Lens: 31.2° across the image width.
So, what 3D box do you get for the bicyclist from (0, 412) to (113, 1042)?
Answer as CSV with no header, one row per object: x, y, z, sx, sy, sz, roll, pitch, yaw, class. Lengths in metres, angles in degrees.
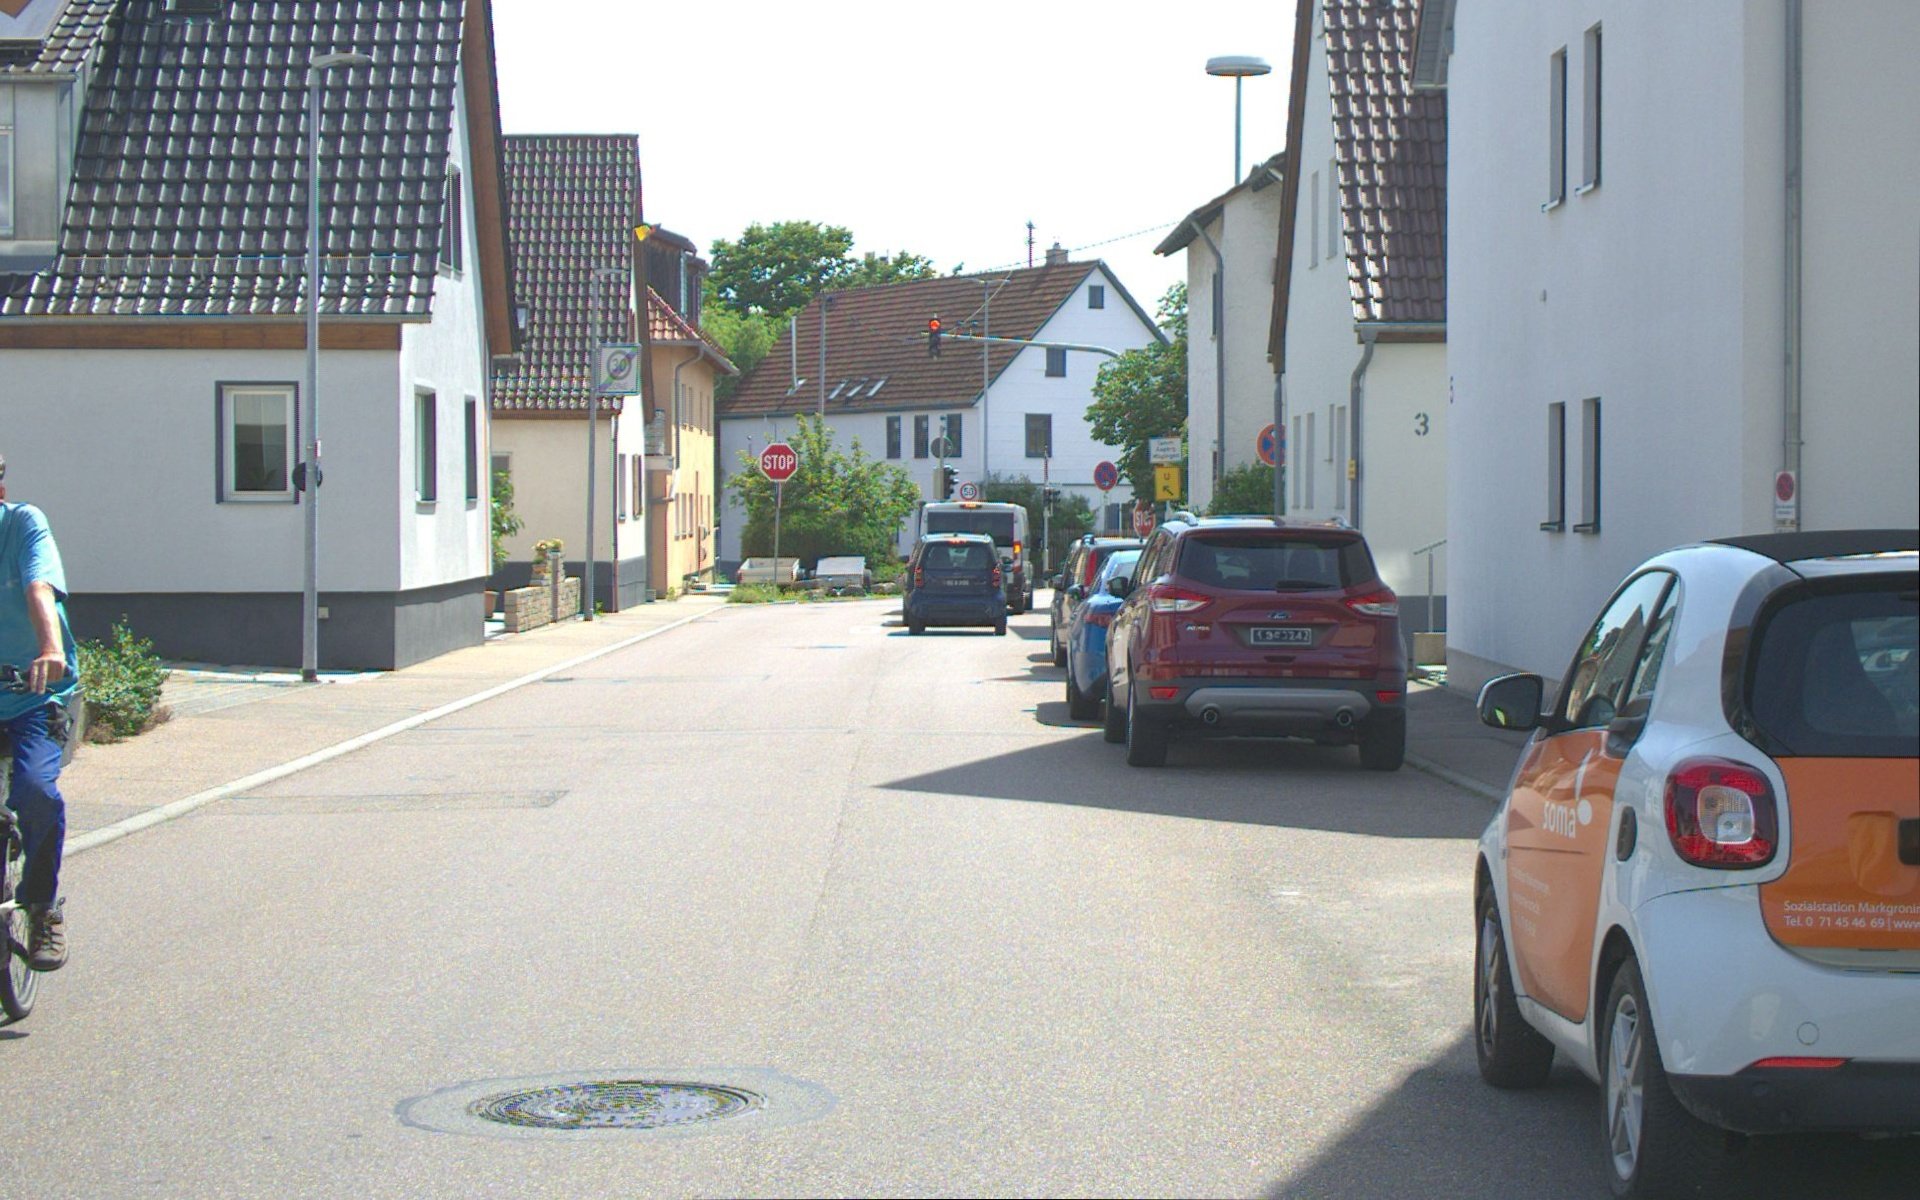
-2.984,0.349,10.242,0.713,1.792,0.942,1,1,-3,bicyclist

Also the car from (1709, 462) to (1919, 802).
6.810,0.177,19.710,4.515,1.836,2.000,1,1,-3,car

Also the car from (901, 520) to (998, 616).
-0.159,-0.570,59.823,1.516,1.619,3.184,0,1,3,car

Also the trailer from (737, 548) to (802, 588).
-4.683,-0.797,84.700,1.502,0.924,1.012,2,1,1,trailer

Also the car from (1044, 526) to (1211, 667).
1.900,-0.074,39.804,1.567,1.540,3.450,1,1,-3,car

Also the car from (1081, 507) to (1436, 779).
1.970,0.228,23.919,1.875,1.694,4.184,1,1,-3,car

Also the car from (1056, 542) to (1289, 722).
1.776,0.218,29.991,1.763,1.419,4.592,1,1,1,car

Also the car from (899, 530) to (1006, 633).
-0.098,-0.316,54.745,1.516,1.561,3.184,1,1,3,car

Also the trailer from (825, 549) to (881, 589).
-2.623,-0.760,84.545,1.311,0.967,0.933,1,1,1,trailer

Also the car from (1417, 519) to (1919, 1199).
2.242,0.588,8.677,1.673,1.553,3.040,1,1,-2,car

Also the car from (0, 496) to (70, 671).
-10.128,-0.259,32.141,3.110,1.571,1.714,4,1,-2,car

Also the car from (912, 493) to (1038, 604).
0.346,-1.050,69.078,2.129,2.151,4.735,0,1,5,car

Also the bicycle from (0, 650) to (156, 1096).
-2.950,0.751,10.203,0.670,1.128,2.189,1,1,-2,bicycle

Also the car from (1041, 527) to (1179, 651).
1.887,-0.169,44.012,1.498,1.508,3.362,1,1,-2,car
